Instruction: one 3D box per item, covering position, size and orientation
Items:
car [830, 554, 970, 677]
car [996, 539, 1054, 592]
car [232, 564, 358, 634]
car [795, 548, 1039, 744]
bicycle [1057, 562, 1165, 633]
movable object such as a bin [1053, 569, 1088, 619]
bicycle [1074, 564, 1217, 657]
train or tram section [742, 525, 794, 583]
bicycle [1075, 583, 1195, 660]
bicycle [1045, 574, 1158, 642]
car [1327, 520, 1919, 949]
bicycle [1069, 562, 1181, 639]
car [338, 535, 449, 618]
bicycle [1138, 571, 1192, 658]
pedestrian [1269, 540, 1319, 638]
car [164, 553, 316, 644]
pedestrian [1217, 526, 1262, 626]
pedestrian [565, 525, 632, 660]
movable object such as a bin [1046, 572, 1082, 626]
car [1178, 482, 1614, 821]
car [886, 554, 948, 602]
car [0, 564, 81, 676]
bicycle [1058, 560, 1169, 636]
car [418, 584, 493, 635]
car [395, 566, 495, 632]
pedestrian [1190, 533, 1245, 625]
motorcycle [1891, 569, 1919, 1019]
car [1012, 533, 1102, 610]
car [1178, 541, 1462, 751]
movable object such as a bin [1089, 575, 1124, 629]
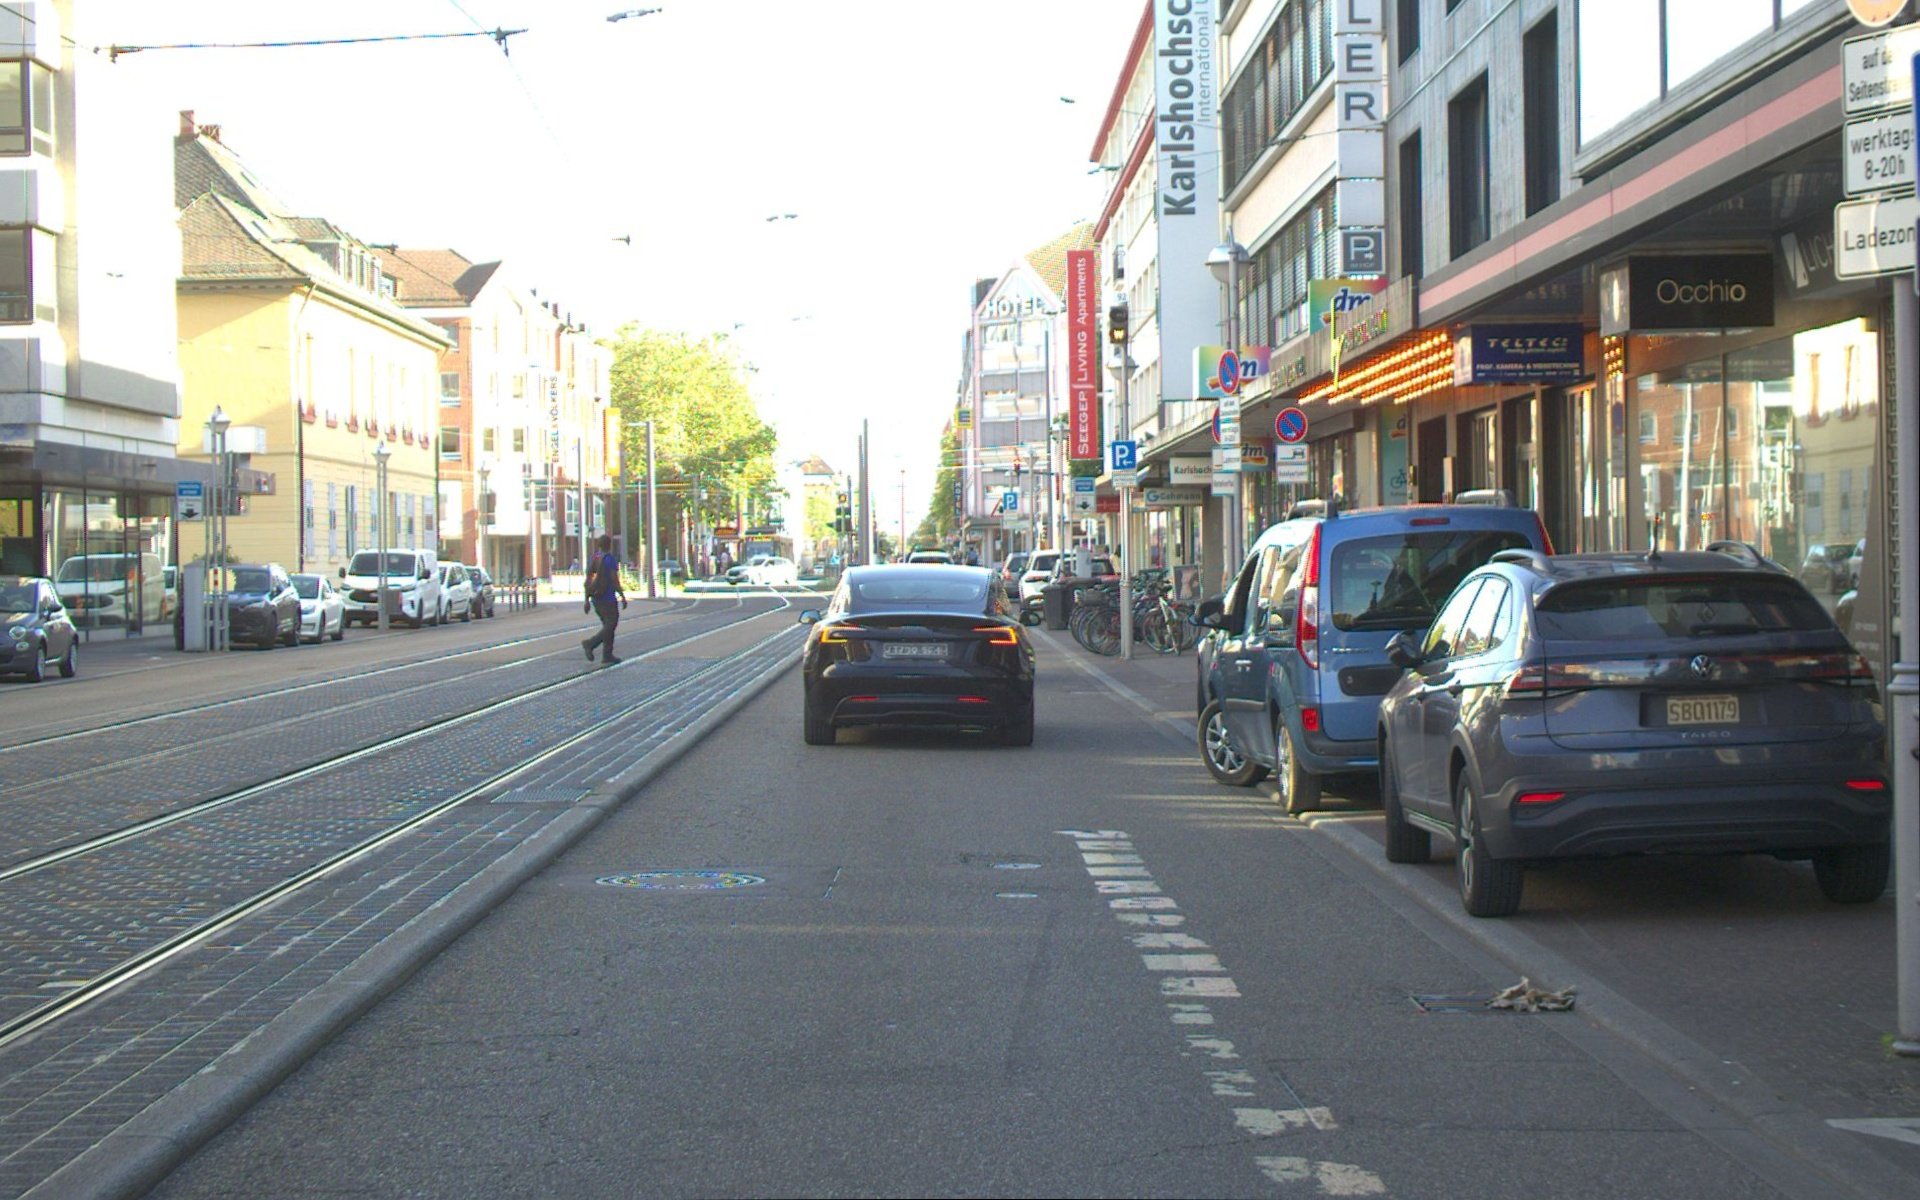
[{"bbox_3d":[-0.716,0.158,43.372,1.653,1.413,4.000,1,1,0],"label":"car"},{"bbox_3d":[2.077,-1.125,110.408,1.745,1.626,3.649,-2,1,0],"label":"car"},{"bbox_3d":[-14.055,-0.045,72.882,1.888,1.416,4.657,1,1,-2],"label":"car"},{"bbox_3d":[-0.381,0.336,28.163,1.849,1.479,3.787,0,0,-2],"label":"car"},{"bbox_3d":[2.588,-0.051,58.935,1.787,1.155,0.669,-2,1,-1],"label":"bicycle"},{"bbox_3d":[2.302,-0.121,71.651,0.686,1.010,0.508,-2,0,2],"label":"movable object such as a bin"},{"bbox_3d":[2.834,0.158,52.488,2.035,1.270,0.525,-4,1,-10],"label":"bicycle"},{"bbox_3d":[-12.870,-3.056,231.149,2.674,3.703,14.193,1,1,0],"label":"train or tram section"},{"bbox_3d":[2.711,0.330,53.282,1.773,1.127,0.479,-2,1,-6],"label":"bicycle"},{"bbox_3d":[2.284,0.123,55.589,1.773,1.028,0.597,-2,1,-1],"label":"bicycle"},{"bbox_3d":[2.841,0.496,15.389,1.763,1.572,4.288,-3,1,-2],"label":"car"},{"bbox_3d":[2.734,0.001,56.961,1.787,1.213,0.587,-2,1,-1],"label":"bicycle"},{"bbox_3d":[-14.139,-0.589,86.057,1.993,1.968,5.097,1,1,-1],"label":"car"},{"bbox_3d":[3.043,0.206,51.201,0.581,1.253,1.602,-3,1,-2],"label":"bicycle"},{"bbox_3d":[5.210,-0.172,53.640,0.581,1.488,0.525,-3,0,-9],"label":"pedestrian"},{"bbox_3d":[-13.978,-0.055,67.008,1.978,1.673,4.655,1,1,0],"label":"car"},{"bbox_3d":[4.539,-0.390,55.910,0.581,1.580,0.598,-3,0,-2],"label":"pedestrian"},{"bbox_3d":[-5.036,-0.111,47.941,0.804,1.831,0.746,-2,0,-2],"label":"pedestrian"},{"bbox_3d":[2.152,-0.026,70.790,0.690,1.085,0.685,-2,0,3],"label":"movable object such as a bin"},{"bbox_3d":[2.598,0.268,21.605,1.815,1.853,4.551,-2,1,-4],"label":"car"},{"bbox_3d":[-1.427,-0.728,112.191,1.783,1.514,4.218,1,1,-3],"label":"car"},{"bbox_3d":[-13.763,0.259,49.186,1.600,1.518,3.590,1,1,-3],"label":"car"},{"bbox_3d":[2.580,-0.040,57.923,1.787,1.213,0.669,-2,1,-1],"label":"bicycle"},{"bbox_3d":[-14.295,0.256,97.563,1.614,1.396,3.720,1,1,-1],"label":"car"},{"bbox_3d":[-13.717,-0.040,91.794,1.808,1.680,4.648,1,1,2],"label":"car"},{"bbox_3d":[4.260,-0.349,56.903,0.581,1.481,0.597,-3,1,-31],"label":"pedestrian"},{"bbox_3d":[3.379,0.616,9.928,0.659,1.427,2.323,-2,1,-2],"label":"motorcycle"},{"bbox_3d":[2.311,-0.695,82.884,1.849,1.718,5.193,-3,1,-1],"label":"car"},{"bbox_3d":[2.823,0.319,27.822,1.721,1.479,4.416,-3,1,-1],"label":"car"},{"bbox_3d":[3.016,0.038,70.729,0.690,1.085,0.666,-2,0,3],"label":"movable object such as a bin"}]
